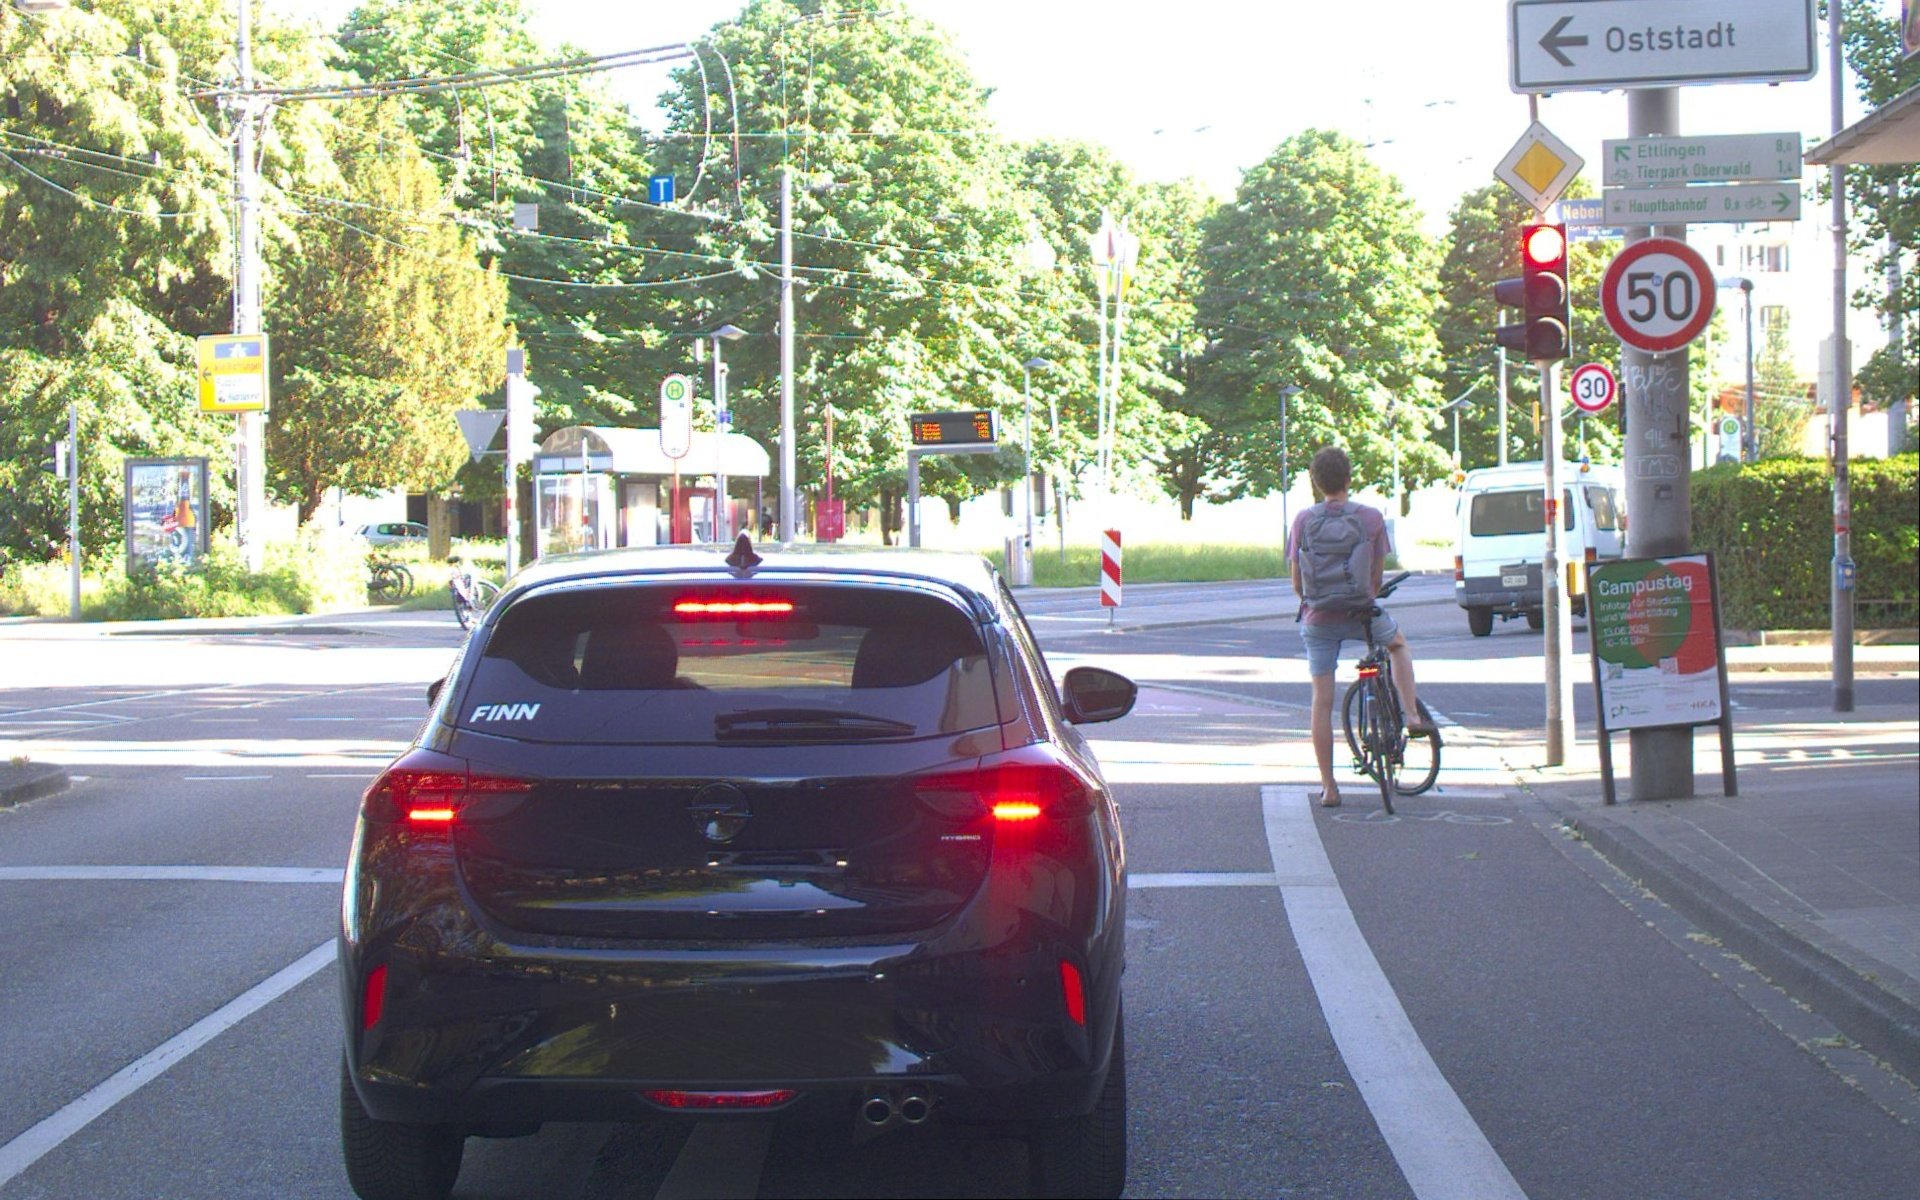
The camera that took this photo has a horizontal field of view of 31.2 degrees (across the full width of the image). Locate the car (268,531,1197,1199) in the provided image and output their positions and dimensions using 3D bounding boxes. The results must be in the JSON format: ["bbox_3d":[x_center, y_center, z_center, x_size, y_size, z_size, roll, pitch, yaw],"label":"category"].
[{"bbox_3d":[-0.473,0.562,8.820,1.840,1.457,3.984,0,1,-1],"label":"car"}]

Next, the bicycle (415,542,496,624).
[{"bbox_3d":[-6.831,-0.245,46.651,0.796,1.061,2.185,0,1,-1],"label":"bicycle"}]

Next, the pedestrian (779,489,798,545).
[{"bbox_3d":[-5.798,-2.801,116.162,0.603,1.865,0.519,1,0,-6],"label":"pedestrian"}]

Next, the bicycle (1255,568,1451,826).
[{"bbox_3d":[2.075,0.468,17.932,0.753,1.231,2.014,0,1,14],"label":"bicycle"}]

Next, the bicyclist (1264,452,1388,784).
[{"bbox_3d":[1.897,0.083,17.794,0.534,1.686,0.567,0,1,17],"label":"bicyclist"}]

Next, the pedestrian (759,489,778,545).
[{"bbox_3d":[-6.481,-2.814,116.543,0.603,1.865,0.519,1,0,-6],"label":"pedestrian"}]

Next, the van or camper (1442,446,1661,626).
[{"bbox_3d":[8.023,-0.841,46.270,2.031,2.302,4.535,1,1,21],"label":"van or camper"}]

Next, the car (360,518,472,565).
[{"bbox_3d":[-18.703,-2.002,118.218,3.535,1.564,1.547,1,1,-23],"label":"car"}]
